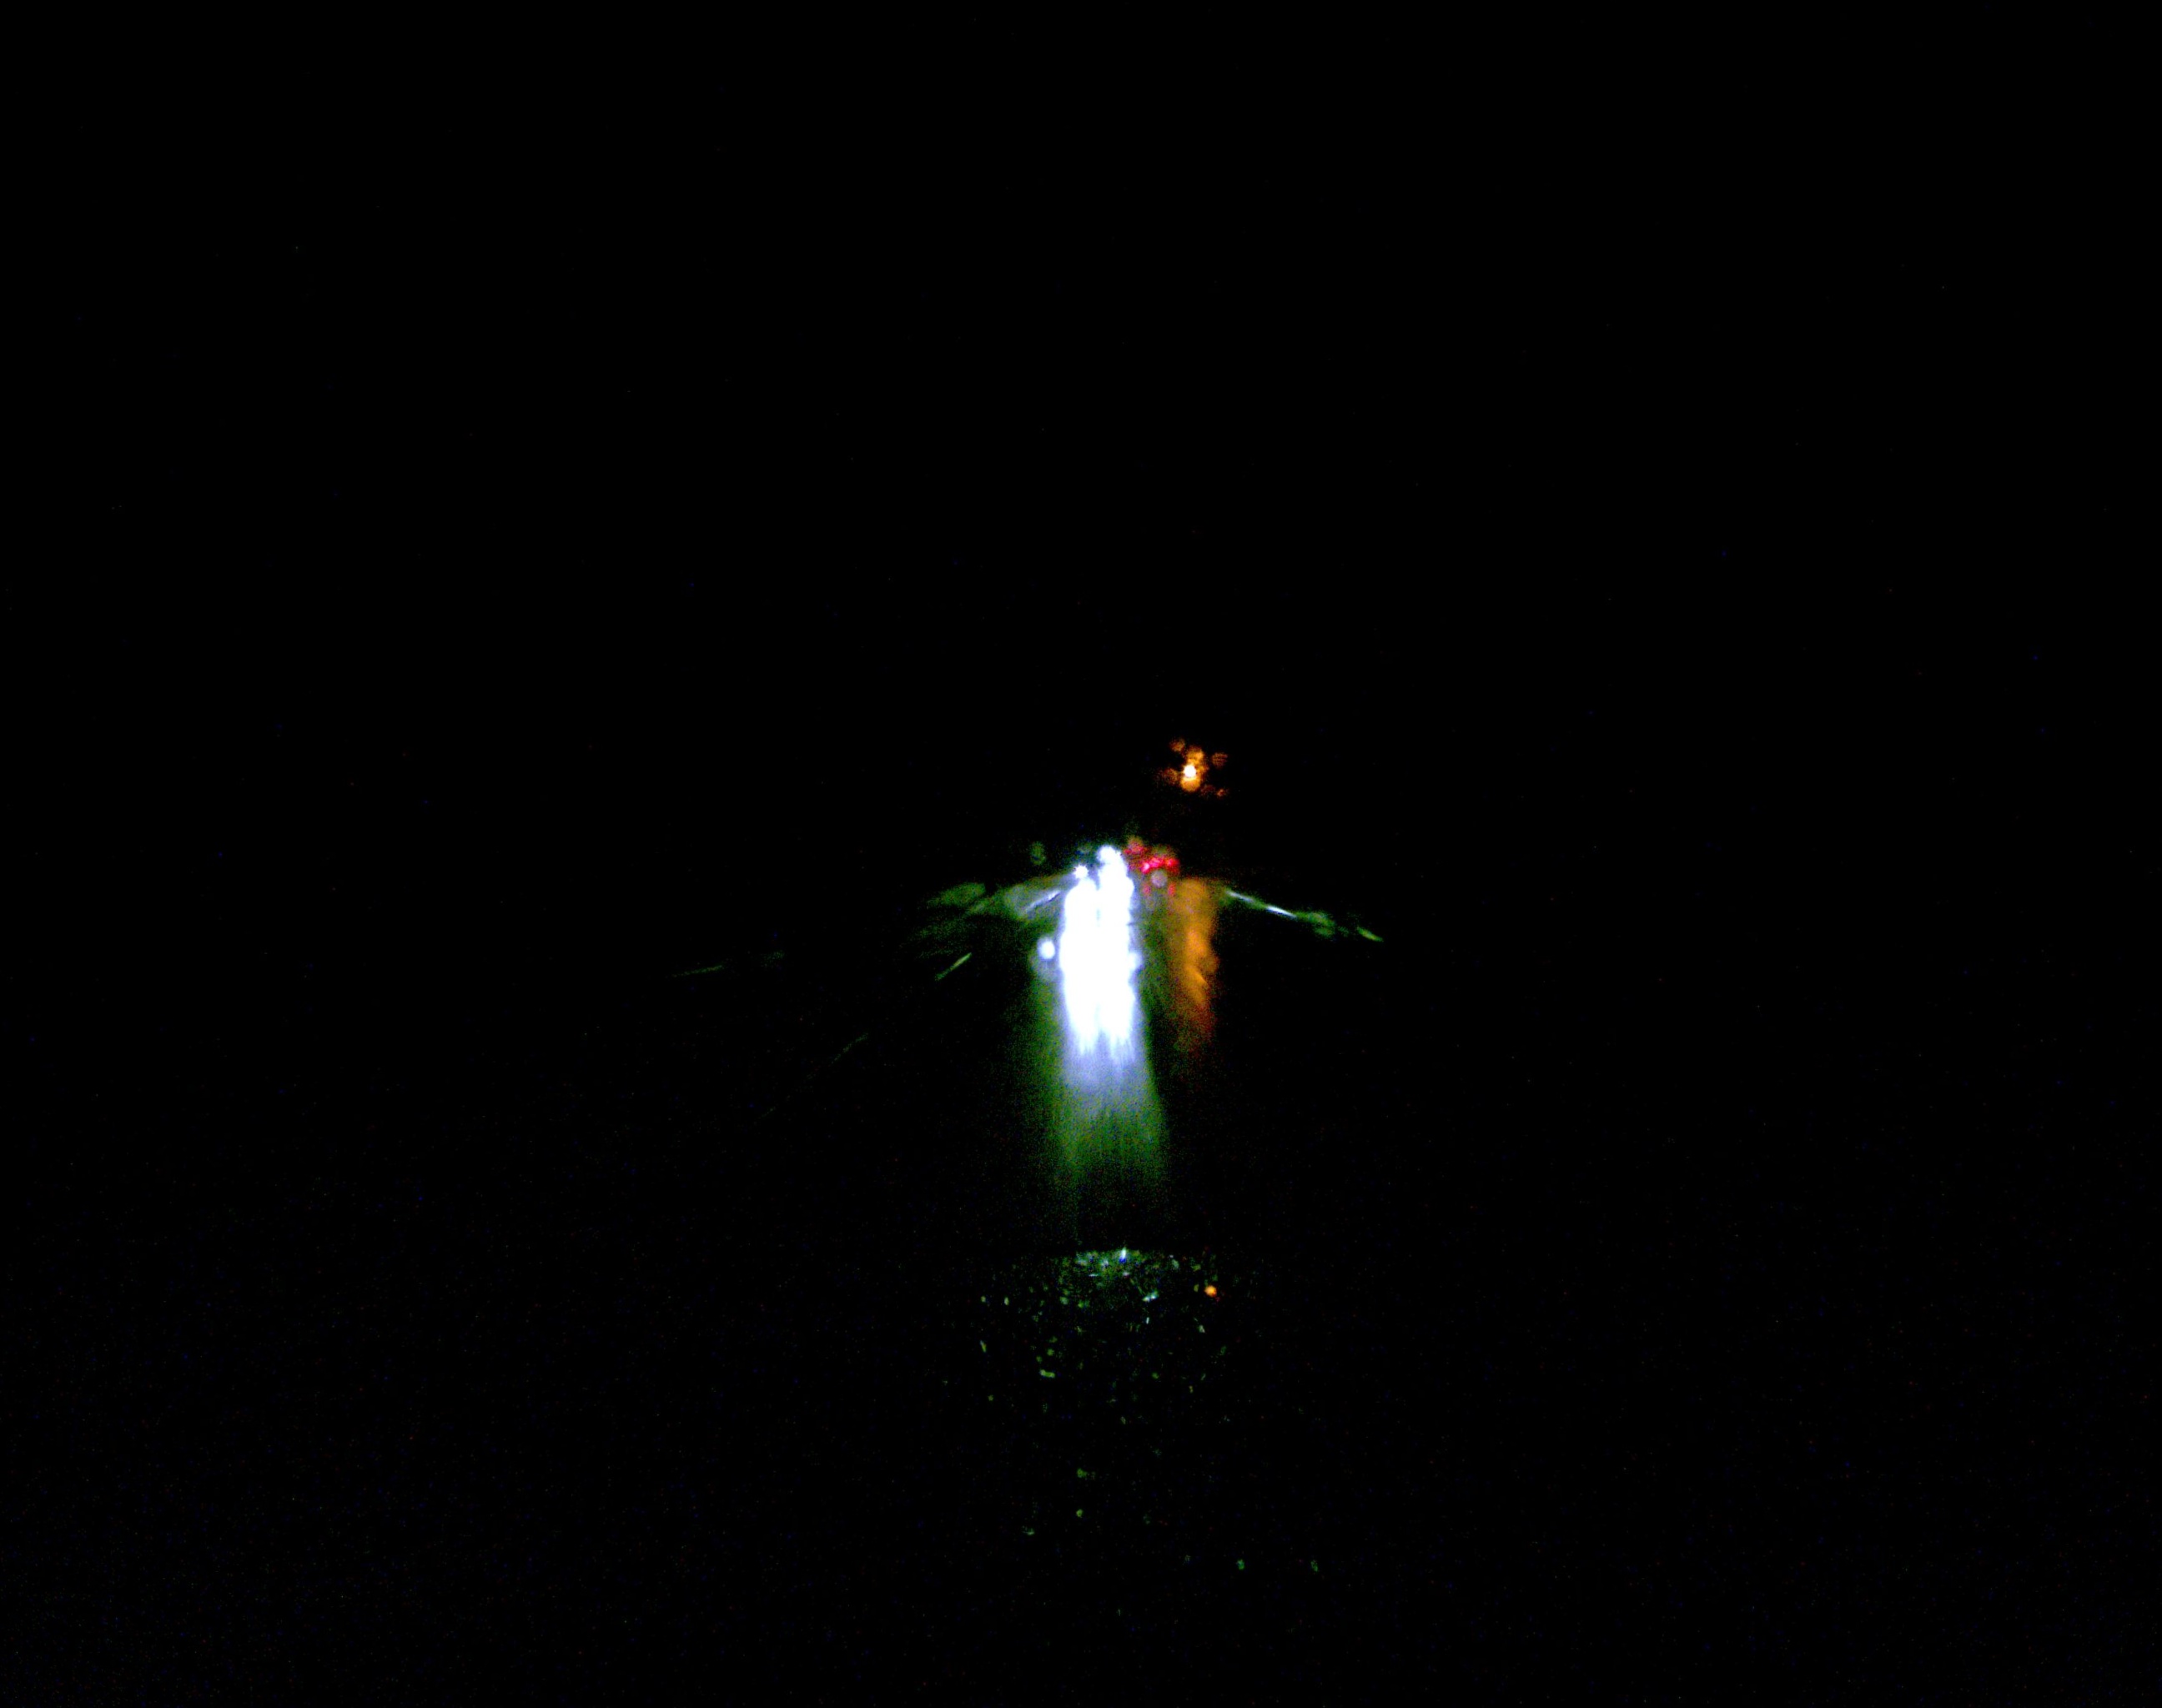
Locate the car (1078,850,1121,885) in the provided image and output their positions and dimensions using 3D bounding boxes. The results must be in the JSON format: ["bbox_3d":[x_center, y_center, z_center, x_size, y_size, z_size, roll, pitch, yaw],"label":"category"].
[{"bbox_3d":[0.938,0.711,38.426,1.944,1.580,4.777,-3,-2,1],"label":"car"}]

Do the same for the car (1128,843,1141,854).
[{"bbox_3d":[8.162,-0.908,116.248,1.805,1.484,3.867,-2,2,3],"label":"car"}]

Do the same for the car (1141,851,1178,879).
[{"bbox_3d":[4.750,0.614,46.557,1.919,1.467,4.203,-3,1,3],"label":"car"}]
